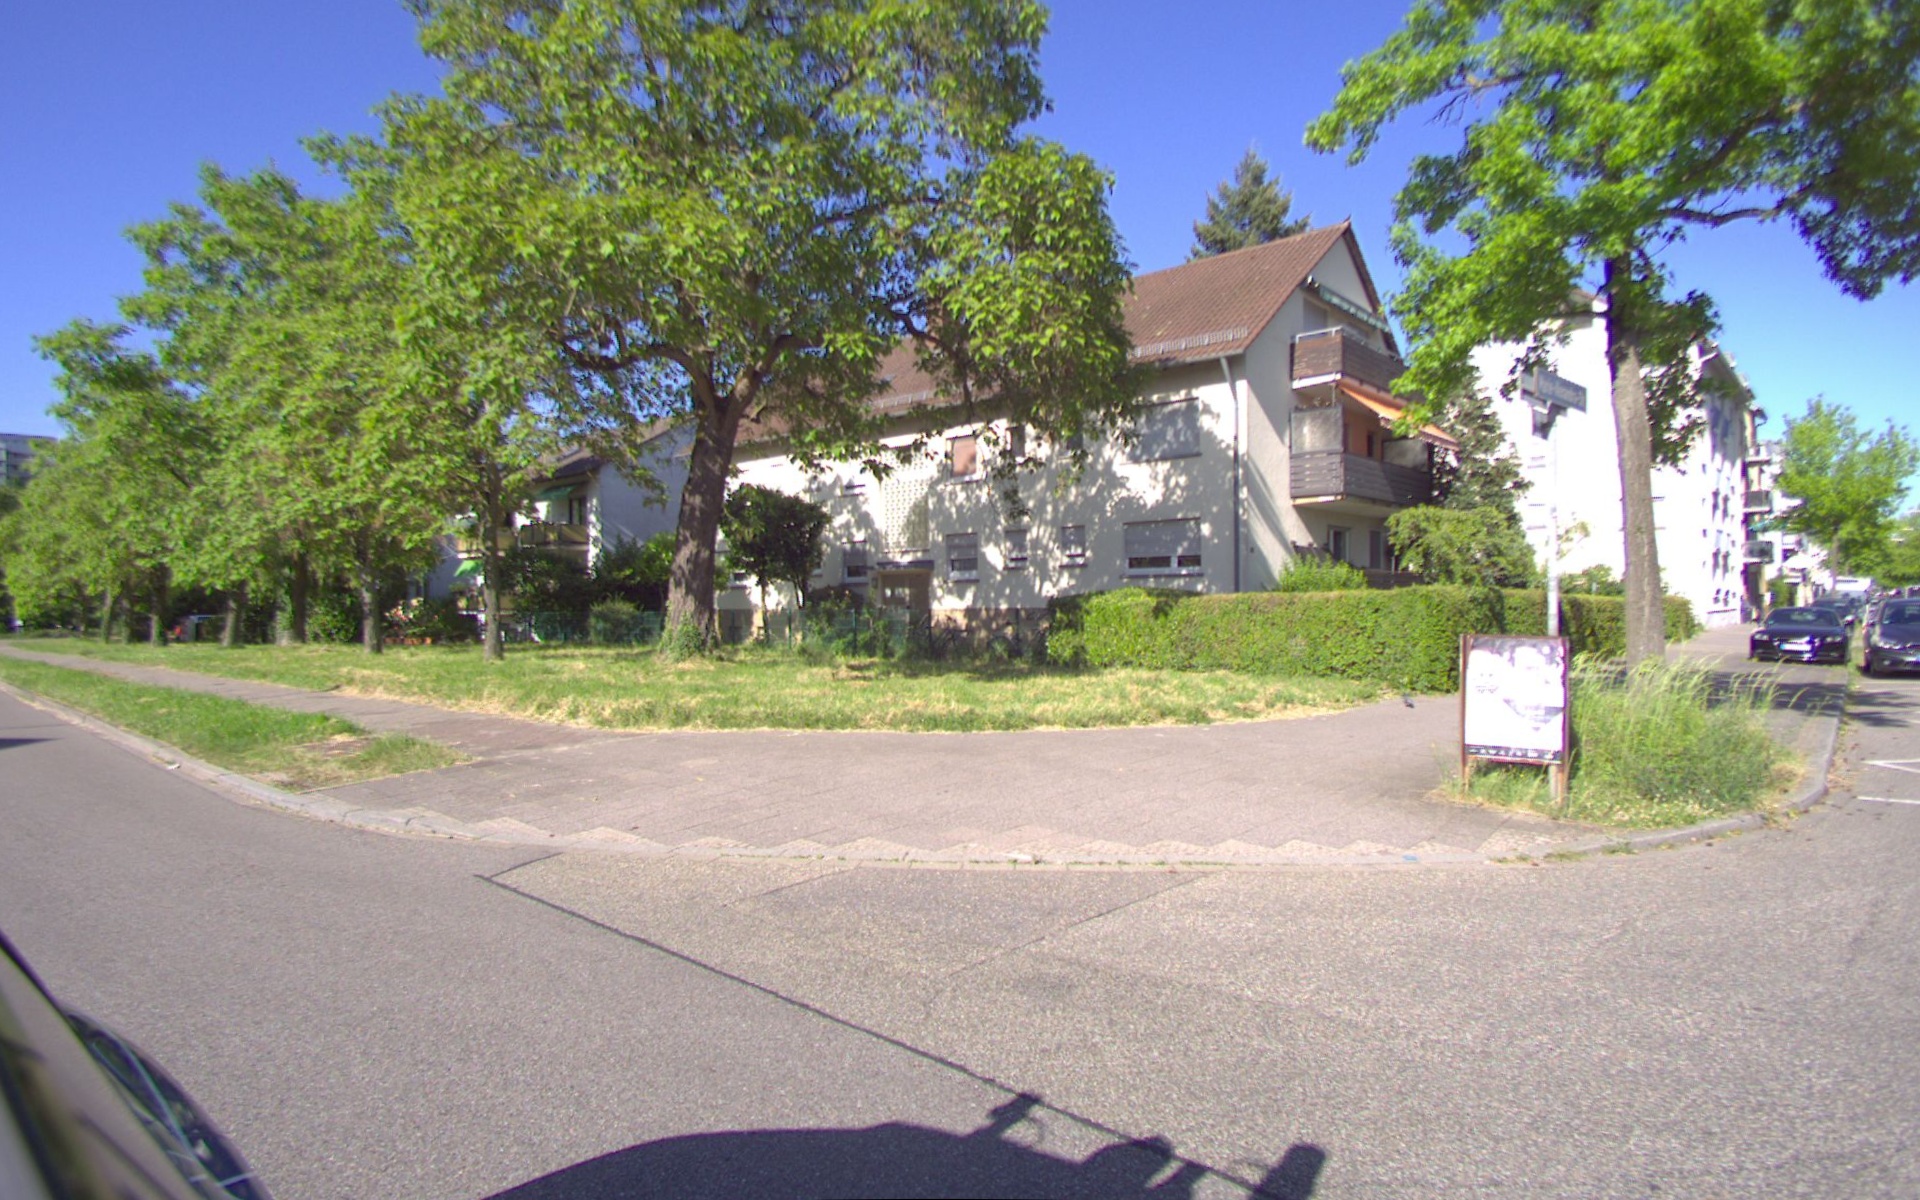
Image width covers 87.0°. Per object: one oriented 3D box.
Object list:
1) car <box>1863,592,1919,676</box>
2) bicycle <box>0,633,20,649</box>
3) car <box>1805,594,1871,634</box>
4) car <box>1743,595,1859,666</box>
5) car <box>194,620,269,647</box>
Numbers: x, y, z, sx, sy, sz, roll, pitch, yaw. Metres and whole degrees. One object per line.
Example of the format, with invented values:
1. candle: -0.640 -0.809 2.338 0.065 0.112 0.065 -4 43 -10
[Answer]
1. car: 19.191 0.639 19.885 1.955 1.560 3.679 -3 -3 40
2. bicycle: -74.714 3.212 79.038 1.875 1.161 0.762 0 2 -38
3. car: 36.769 0.591 42.474 1.955 1.560 3.679 -3 -3 40
4. car: 20.026 0.729 24.144 1.955 1.560 3.679 -3 -3 40
5. car: -56.227 2.554 78.147 2.070 1.984 4.400 -3 -2 45
